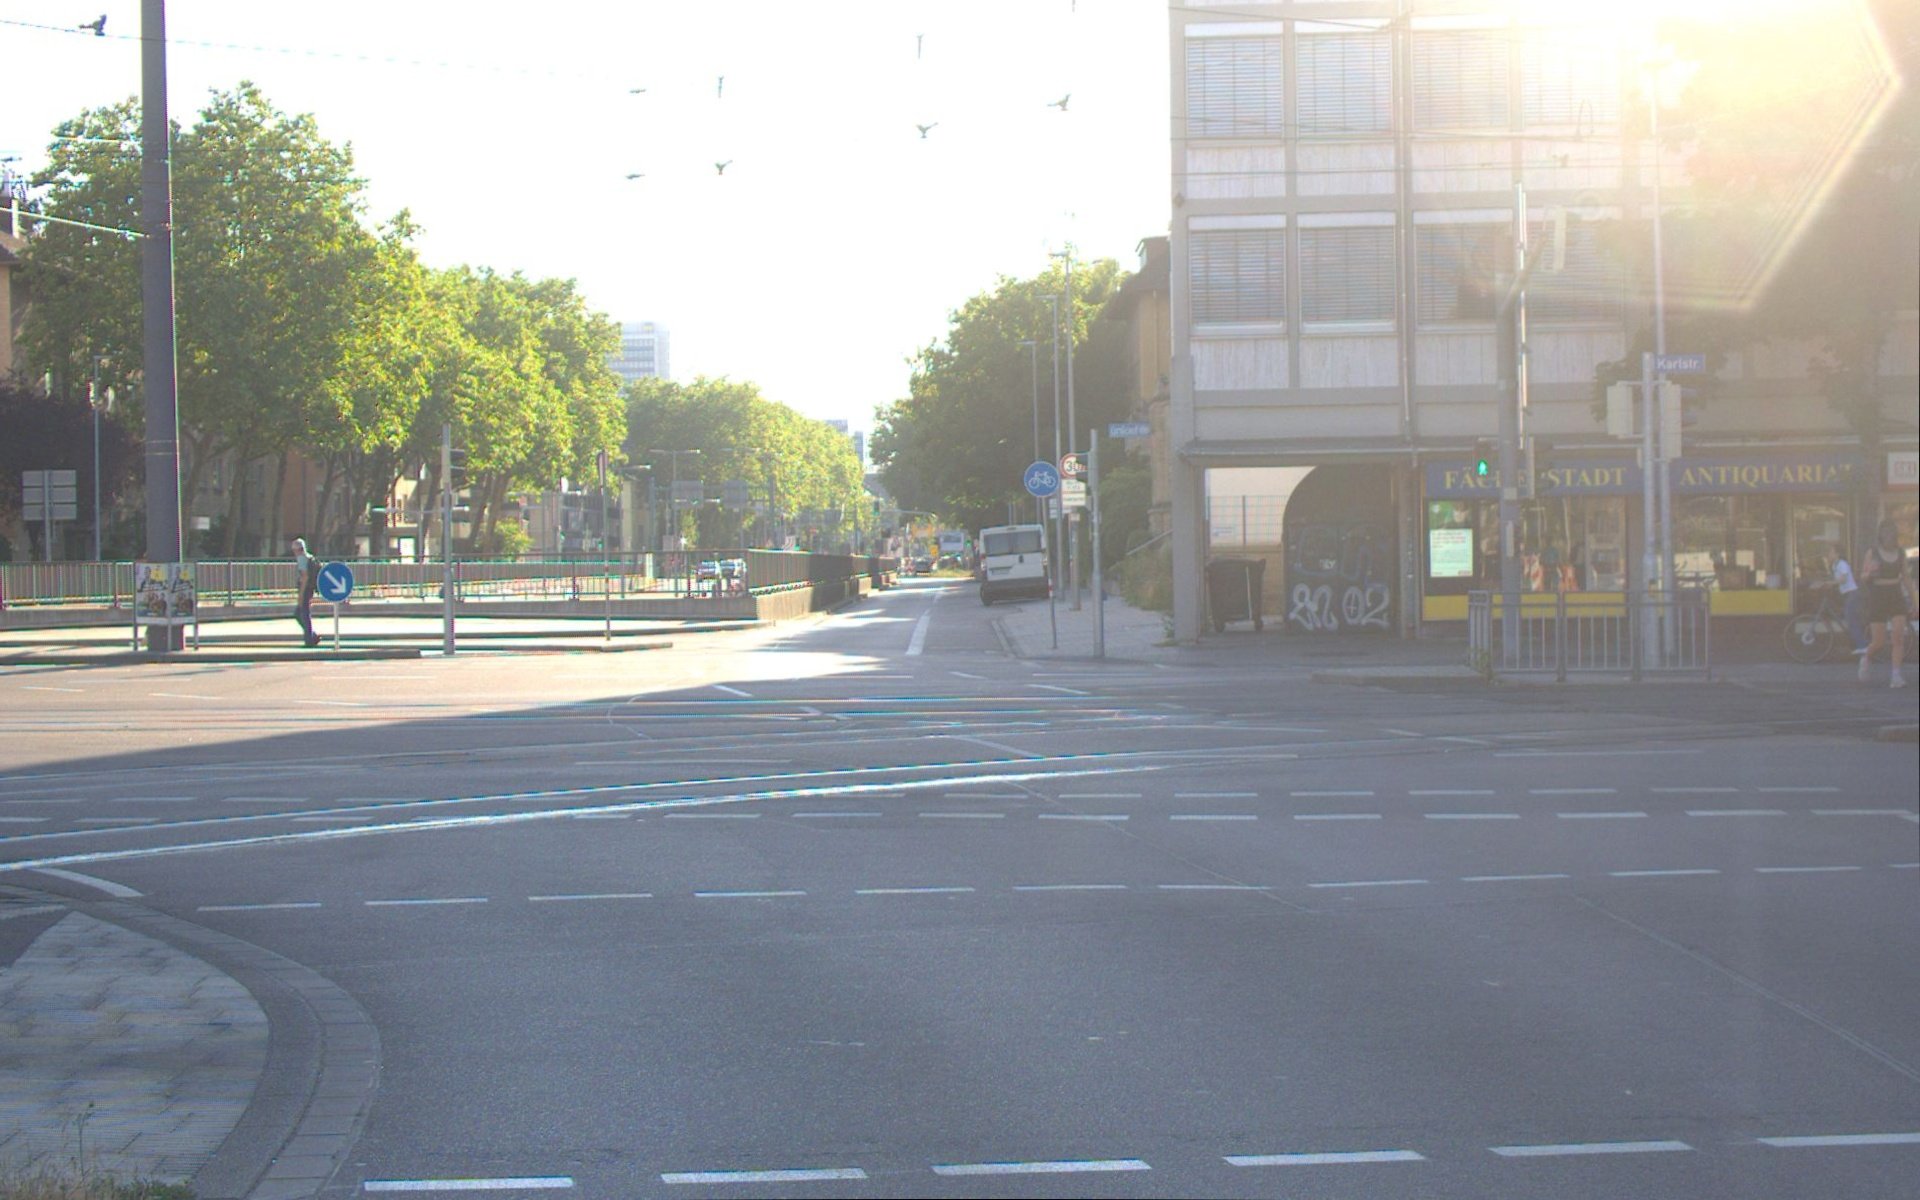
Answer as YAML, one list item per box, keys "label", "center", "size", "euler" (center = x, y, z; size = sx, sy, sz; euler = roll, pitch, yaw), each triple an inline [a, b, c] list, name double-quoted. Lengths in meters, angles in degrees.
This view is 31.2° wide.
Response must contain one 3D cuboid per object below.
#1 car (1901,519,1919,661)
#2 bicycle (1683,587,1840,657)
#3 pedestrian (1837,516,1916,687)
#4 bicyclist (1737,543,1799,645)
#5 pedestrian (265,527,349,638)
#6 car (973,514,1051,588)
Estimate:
- label: "car"
  center: [12.902, -0.093, 39.030]
  size: [3.987, 1.612, 1.844]
  euler: [1, 0, 5]
- label: "bicycle"
  center: [11.237, 0.305, 48.230]
  size: [2.024, 0.937, 0.671]
  euler: [1, 0, -1]
- label: "pedestrian"
  center: [9.190, 0.010, 34.492]
  size: [0.696, 1.676, 1.041]
  euler: [1, 0, 12]
- label: "bicyclist"
  center: [11.338, -0.086, 48.242]
  size: [0.679, 1.419, 0.671]
  euler: [1, 0, -1]
- label: "pedestrian"
  center: [-10.297, -0.274, 54.259]
  size: [1.194, 1.725, 0.856]
  euler: [1, 0, -5]
- label: "car"
  center: [1.595, -1.466, 103.918]
  size: [2.286, 2.165, 4.833]
  euler: [1, 1, 1]
